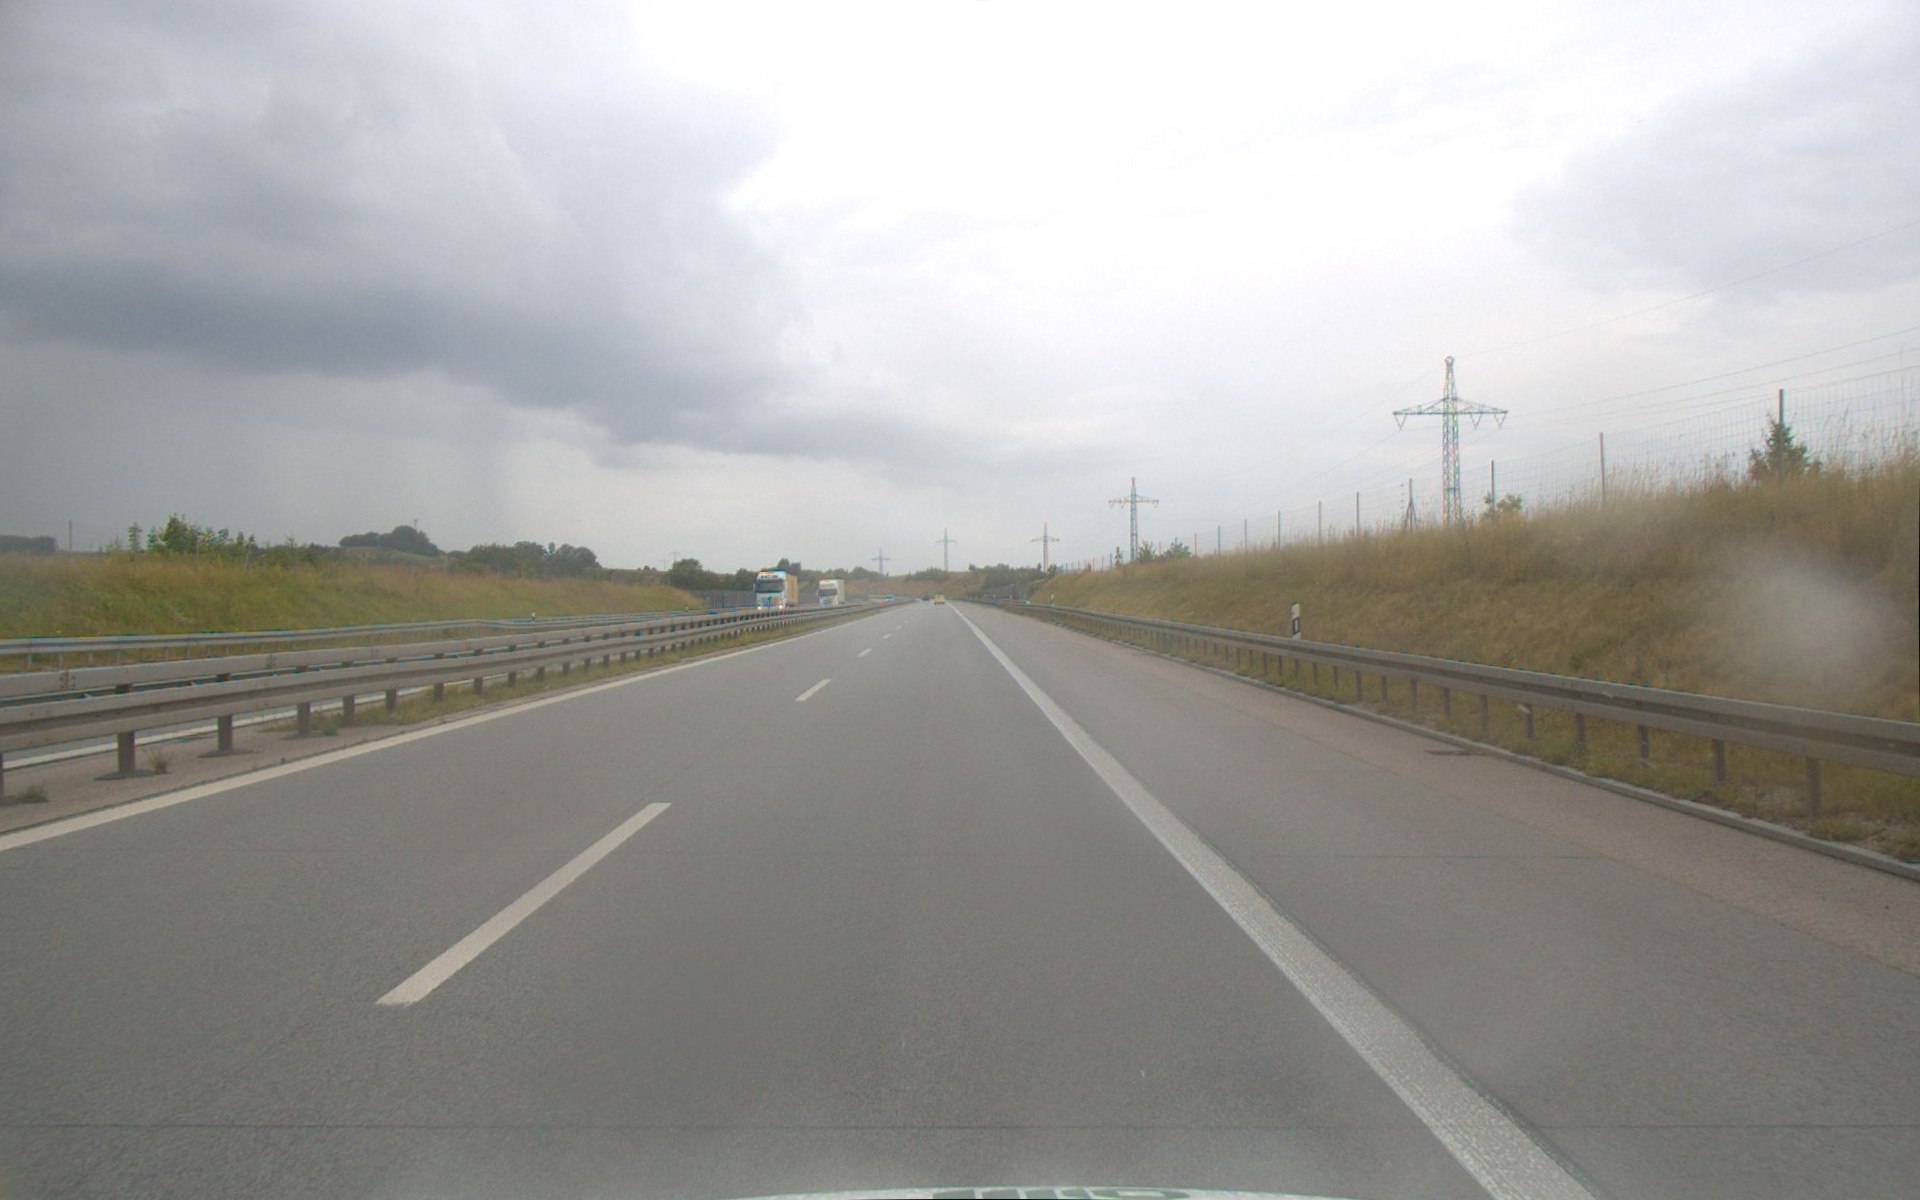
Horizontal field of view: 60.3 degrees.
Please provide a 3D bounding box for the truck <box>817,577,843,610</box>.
[{"bbox_3d":[-16.703,-0.820,213.130,2.892,3.994,5.517,-2,0,-1],"label":"truck"}]

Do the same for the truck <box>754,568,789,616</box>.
[{"bbox_3d":[-16.470,-0.673,144.507,2.541,3.994,5.584,-2,0,-3],"label":"truck"}]
